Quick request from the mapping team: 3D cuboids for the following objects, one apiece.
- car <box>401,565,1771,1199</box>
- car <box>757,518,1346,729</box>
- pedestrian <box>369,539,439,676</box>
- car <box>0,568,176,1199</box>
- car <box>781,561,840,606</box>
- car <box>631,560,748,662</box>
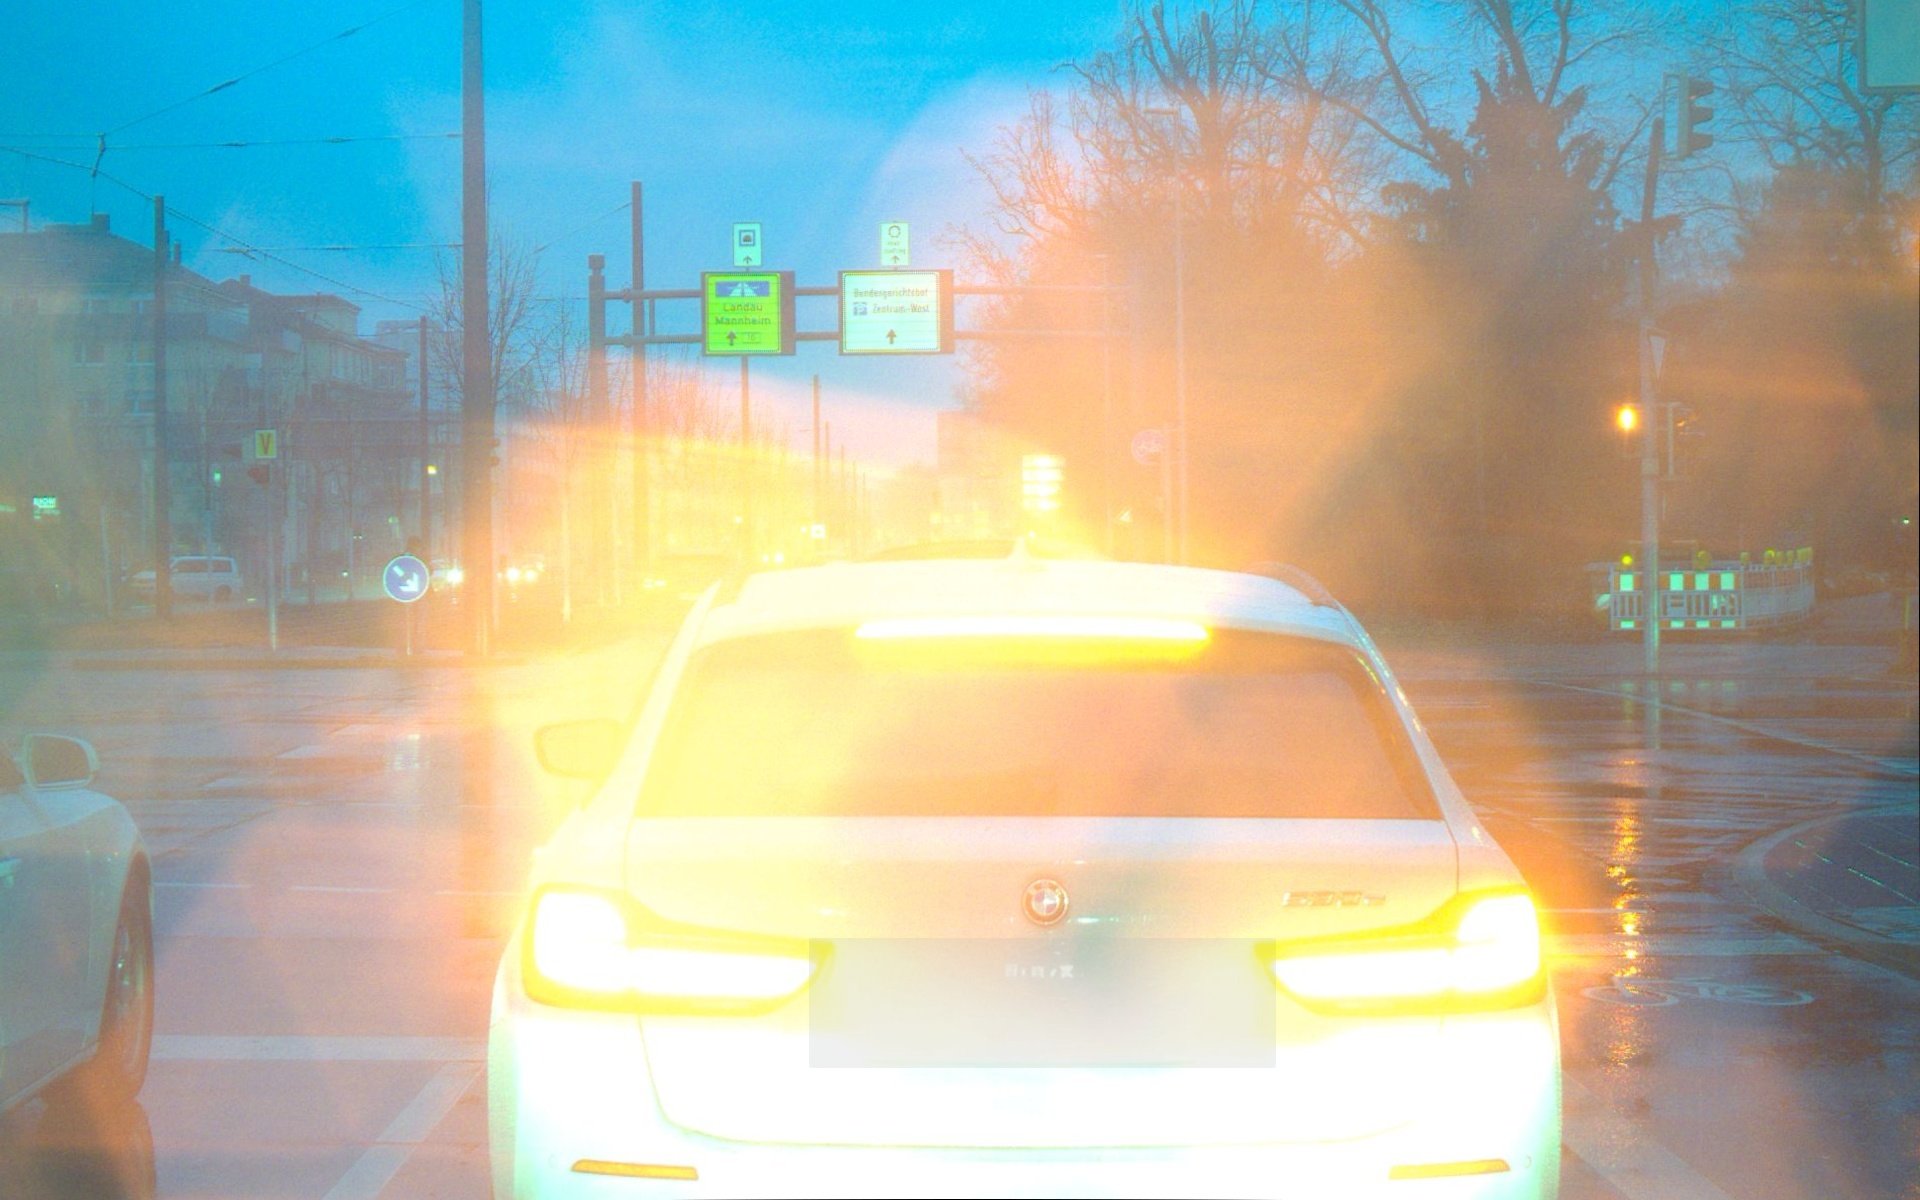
[{"bbox_3d":[0.093,0.673,7.181,1.993,1.451,4.369,0,1,-3],"label":"car"},{"bbox_3d":[0.796,0.180,29.635,4.700,1.714,1.899,0,0,20],"label":"car"},{"bbox_3d":[-7.606,0.103,47.055,0.902,1.850,0.812,1,0,-9],"label":"pedestrian"},{"bbox_3d":[-3.111,0.676,7.470,1.993,1.451,4.369,0,1,-3],"label":"car"},{"bbox_3d":[-5.106,-0.575,117.531,1.993,1.451,4.369,0,1,-3],"label":"car"},{"bbox_3d":[-4.493,0.167,57.075,1.842,1.603,3.945,1,0,-5],"label":"car"}]
